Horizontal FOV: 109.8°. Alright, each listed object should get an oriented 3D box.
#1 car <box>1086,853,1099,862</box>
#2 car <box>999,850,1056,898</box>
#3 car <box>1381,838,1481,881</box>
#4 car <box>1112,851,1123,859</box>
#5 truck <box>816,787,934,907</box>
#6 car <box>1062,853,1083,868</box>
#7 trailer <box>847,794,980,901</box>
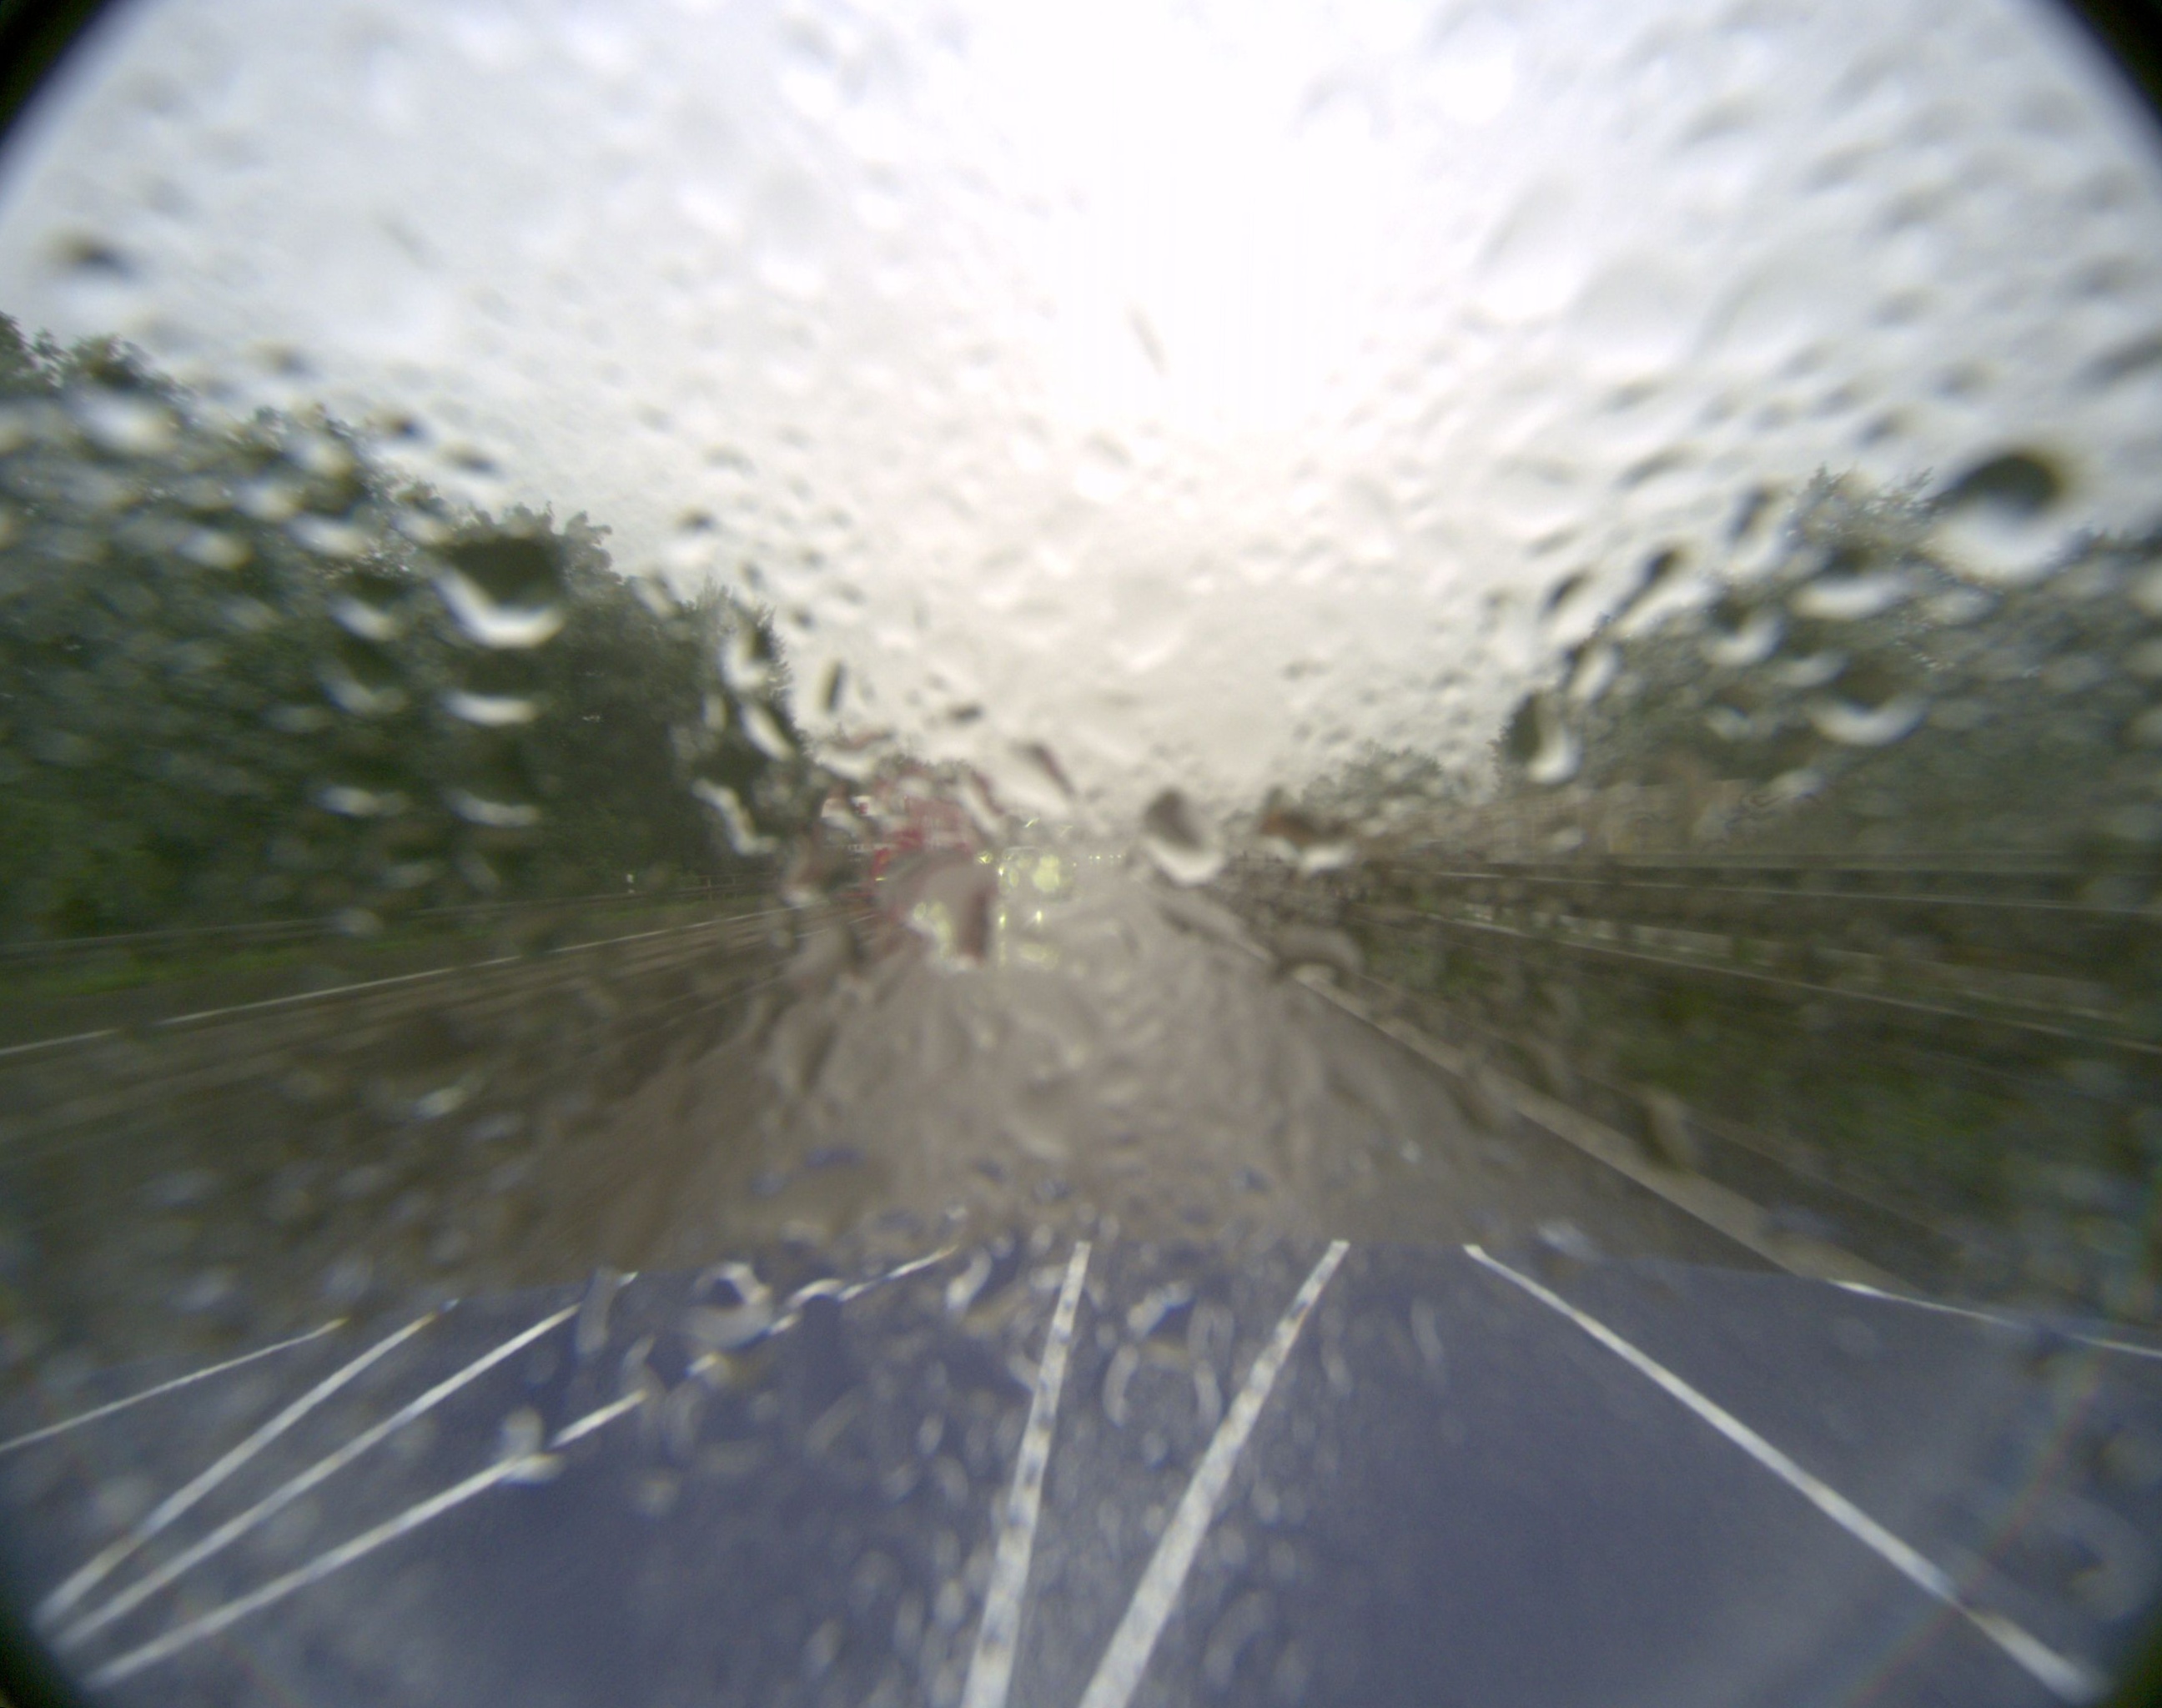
[{"bbox_3d":[2.241,0.678,145.826,1.768,1.448,3.961,-5,0,8],"label":"car"},{"bbox_3d":[-2.325,0.831,34.197,1.892,1.873,5.010,-5,0,2],"label":"car"},{"bbox_3d":[13.373,0.196,29.323,1.998,1.455,4.000,-3,1,1],"label":"car"},{"bbox_3d":[7.140,0.197,147.975,1.768,1.448,3.961,-5,0,6],"label":"car"},{"bbox_3d":[-7.419,-0.257,28.160,2.626,3.932,5.433,-2,1,2],"label":"truck"},{"bbox_3d":[-0.861,0.684,82.273,1.768,1.448,3.961,-5,0,6],"label":"car"},{"bbox_3d":[-7.210,-0.302,35.345,2.626,3.932,13.630,-2,1,2],"label":"trailer"}]
